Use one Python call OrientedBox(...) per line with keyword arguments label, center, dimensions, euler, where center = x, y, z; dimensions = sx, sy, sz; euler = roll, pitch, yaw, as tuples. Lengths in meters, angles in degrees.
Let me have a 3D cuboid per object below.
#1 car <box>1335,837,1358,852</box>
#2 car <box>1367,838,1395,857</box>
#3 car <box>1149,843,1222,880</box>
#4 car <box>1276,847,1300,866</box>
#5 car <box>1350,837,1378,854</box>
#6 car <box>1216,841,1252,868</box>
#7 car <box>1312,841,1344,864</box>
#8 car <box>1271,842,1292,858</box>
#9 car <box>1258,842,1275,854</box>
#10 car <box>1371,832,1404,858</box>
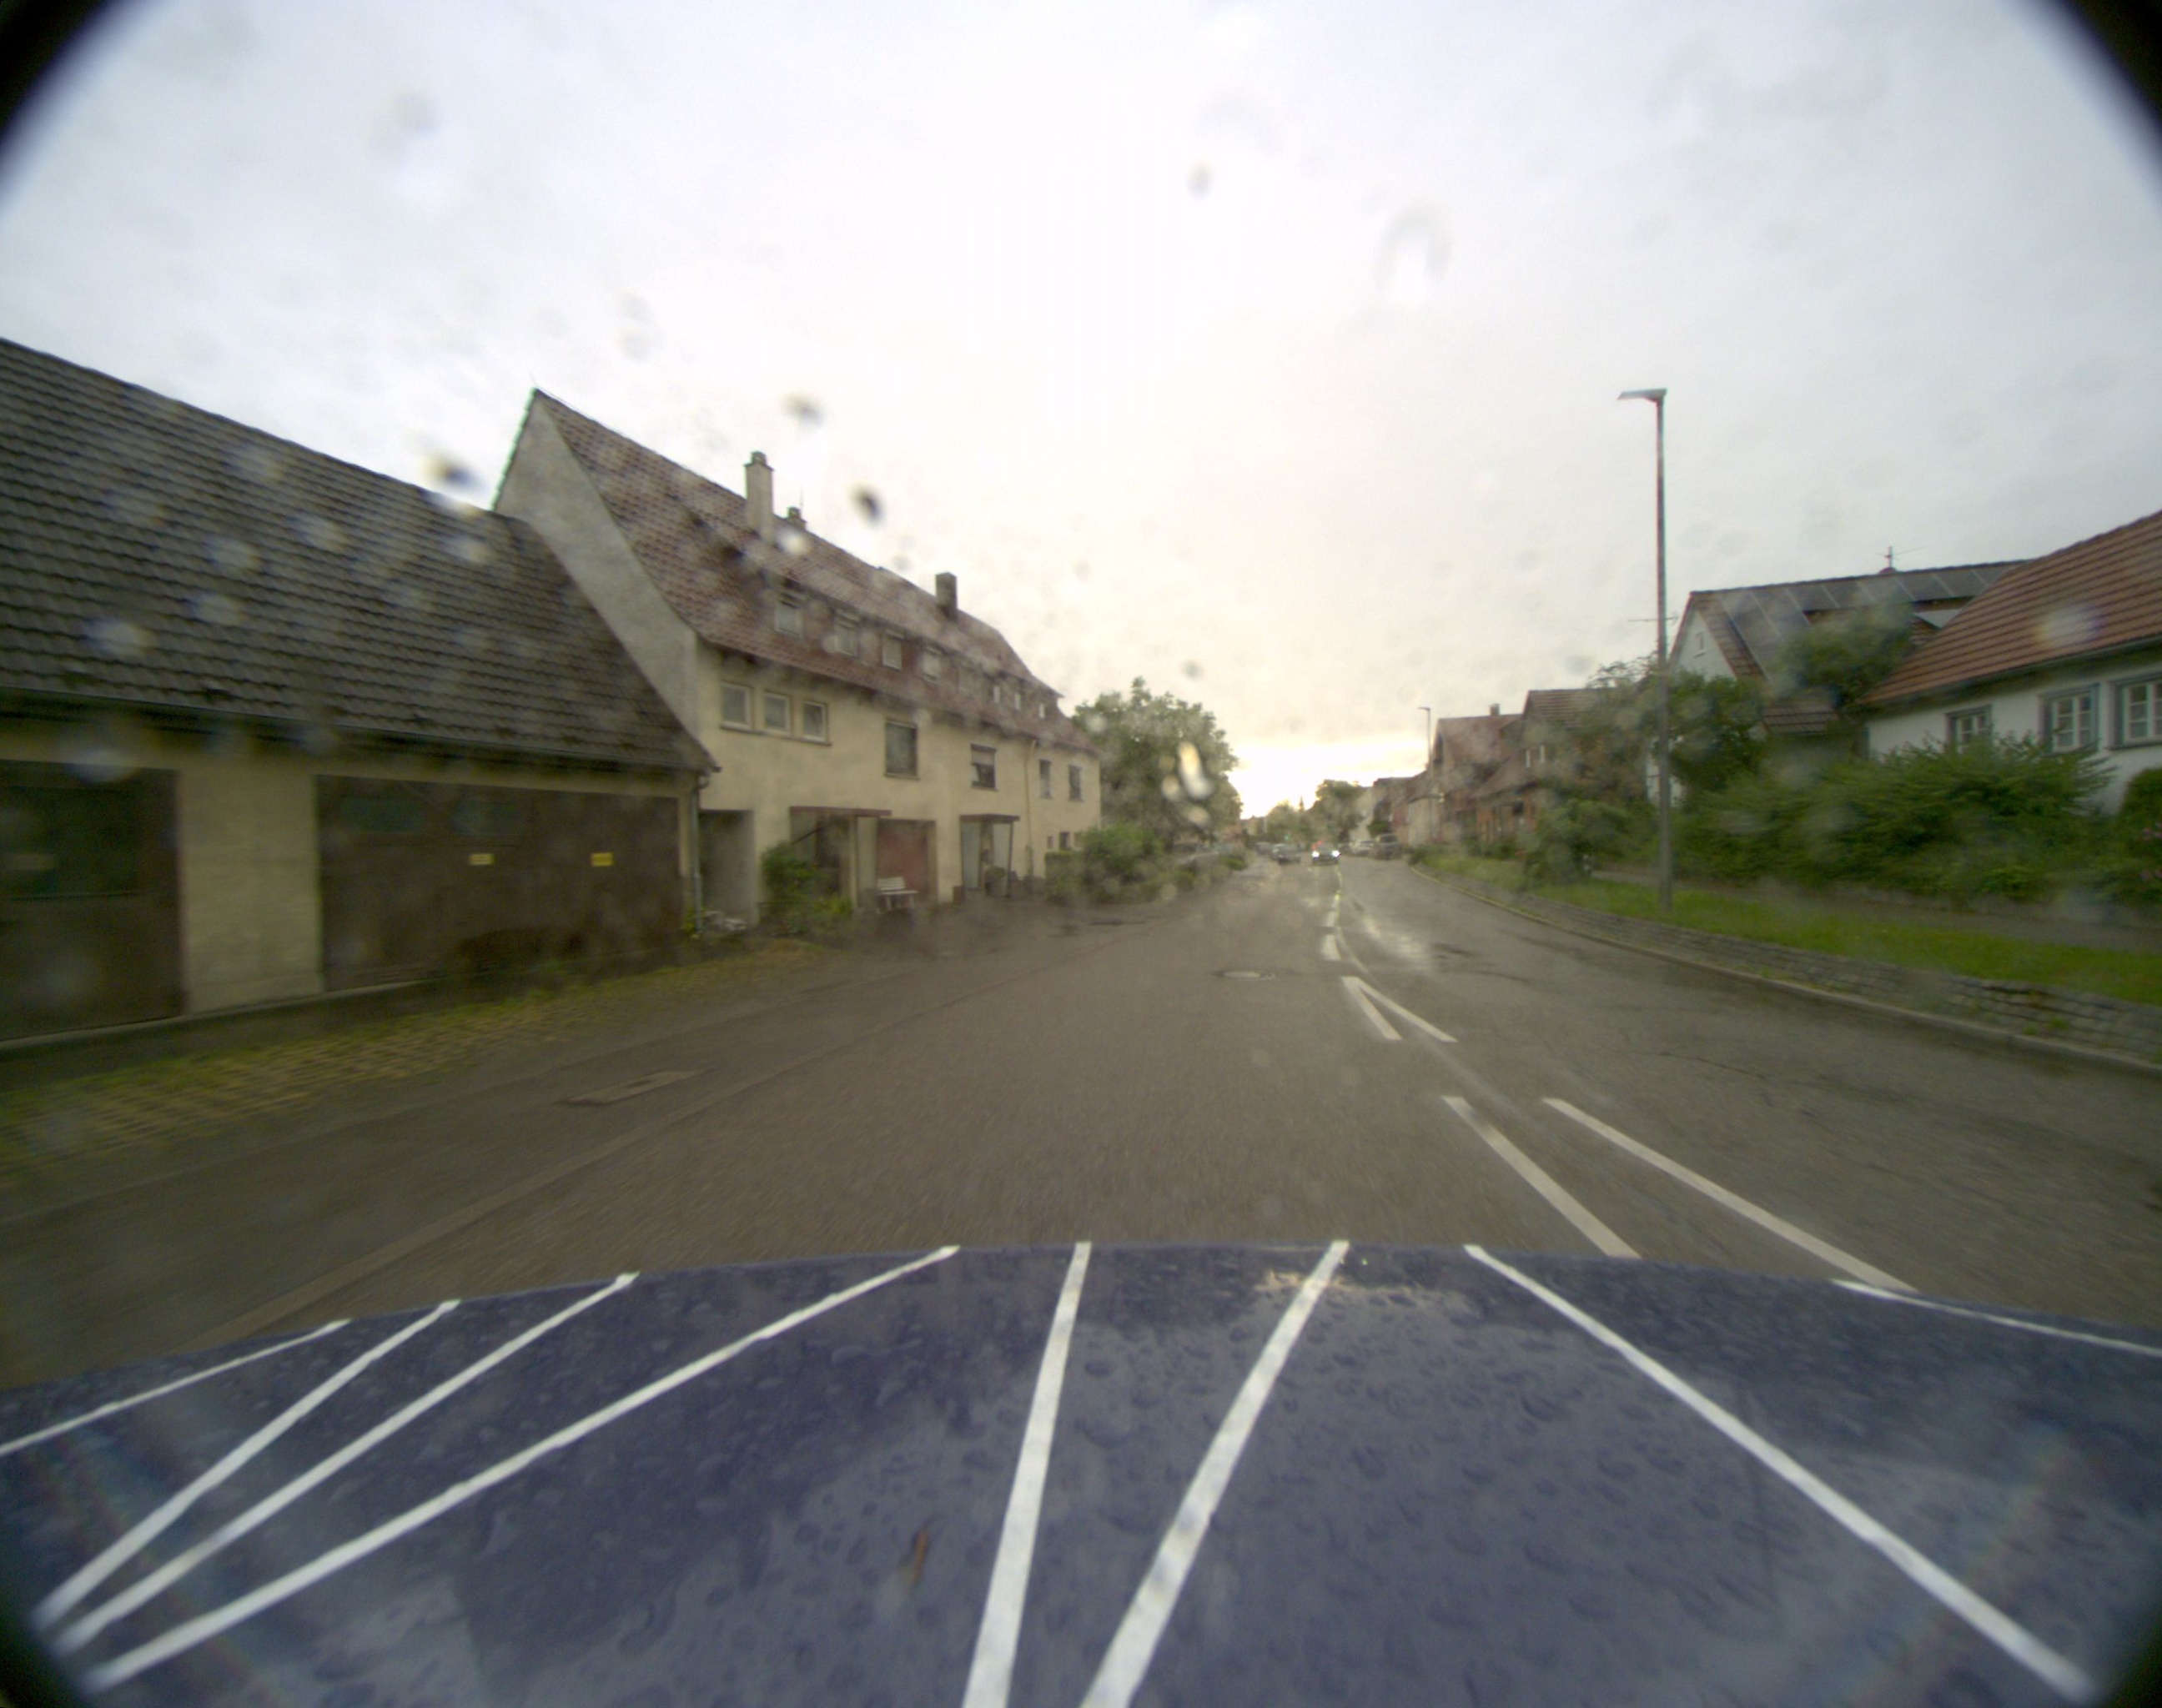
OrientedBox(label="car", center=(30.940, -1.136, 88.609), dimensions=(1.810, 1.612, 4.002), euler=(-2, 1, 10))
OrientedBox(label="car", center=(25.589, -0.593, 64.970), dimensions=(1.810, 1.565, 3.668), euler=(-2, 1, 15))
OrientedBox(label="car", center=(5.286, 0.337, 37.848), dimensions=(1.908, 1.701, 4.487), euler=(-1, 1, 32))
OrientedBox(label="car", center=(17.058, 0.210, 62.579), dimensions=(1.785, 1.455, 4.004), euler=(-2, 1, 15))
OrientedBox(label="car", center=(27.622, -0.818, 74.206), dimensions=(1.810, 1.612, 4.002), euler=(-2, 1, 10))
OrientedBox(label="car", center=(10.214, 0.010, 50.542), dimensions=(1.996, 1.644, 4.074), euler=(-2, 1, 16))
OrientedBox(label="car", center=(18.012, -0.157, 55.546), dimensions=(1.996, 1.521, 4.004), euler=(-3, 0, 17))
OrientedBox(label="car", center=(20.750, -0.457, 78.715), dimensions=(1.996, 1.521, 4.004), euler=(-2, 0, 14))
OrientedBox(label="car", center=(25.250, -0.795, 103.407), dimensions=(1.997, 1.521, 4.003), euler=(-3, 0, 12))
OrientedBox(label="car", center=(24.193, -0.704, 60.177), dimensions=(1.844, 1.912, 4.194), euler=(-3, 0, 15))
